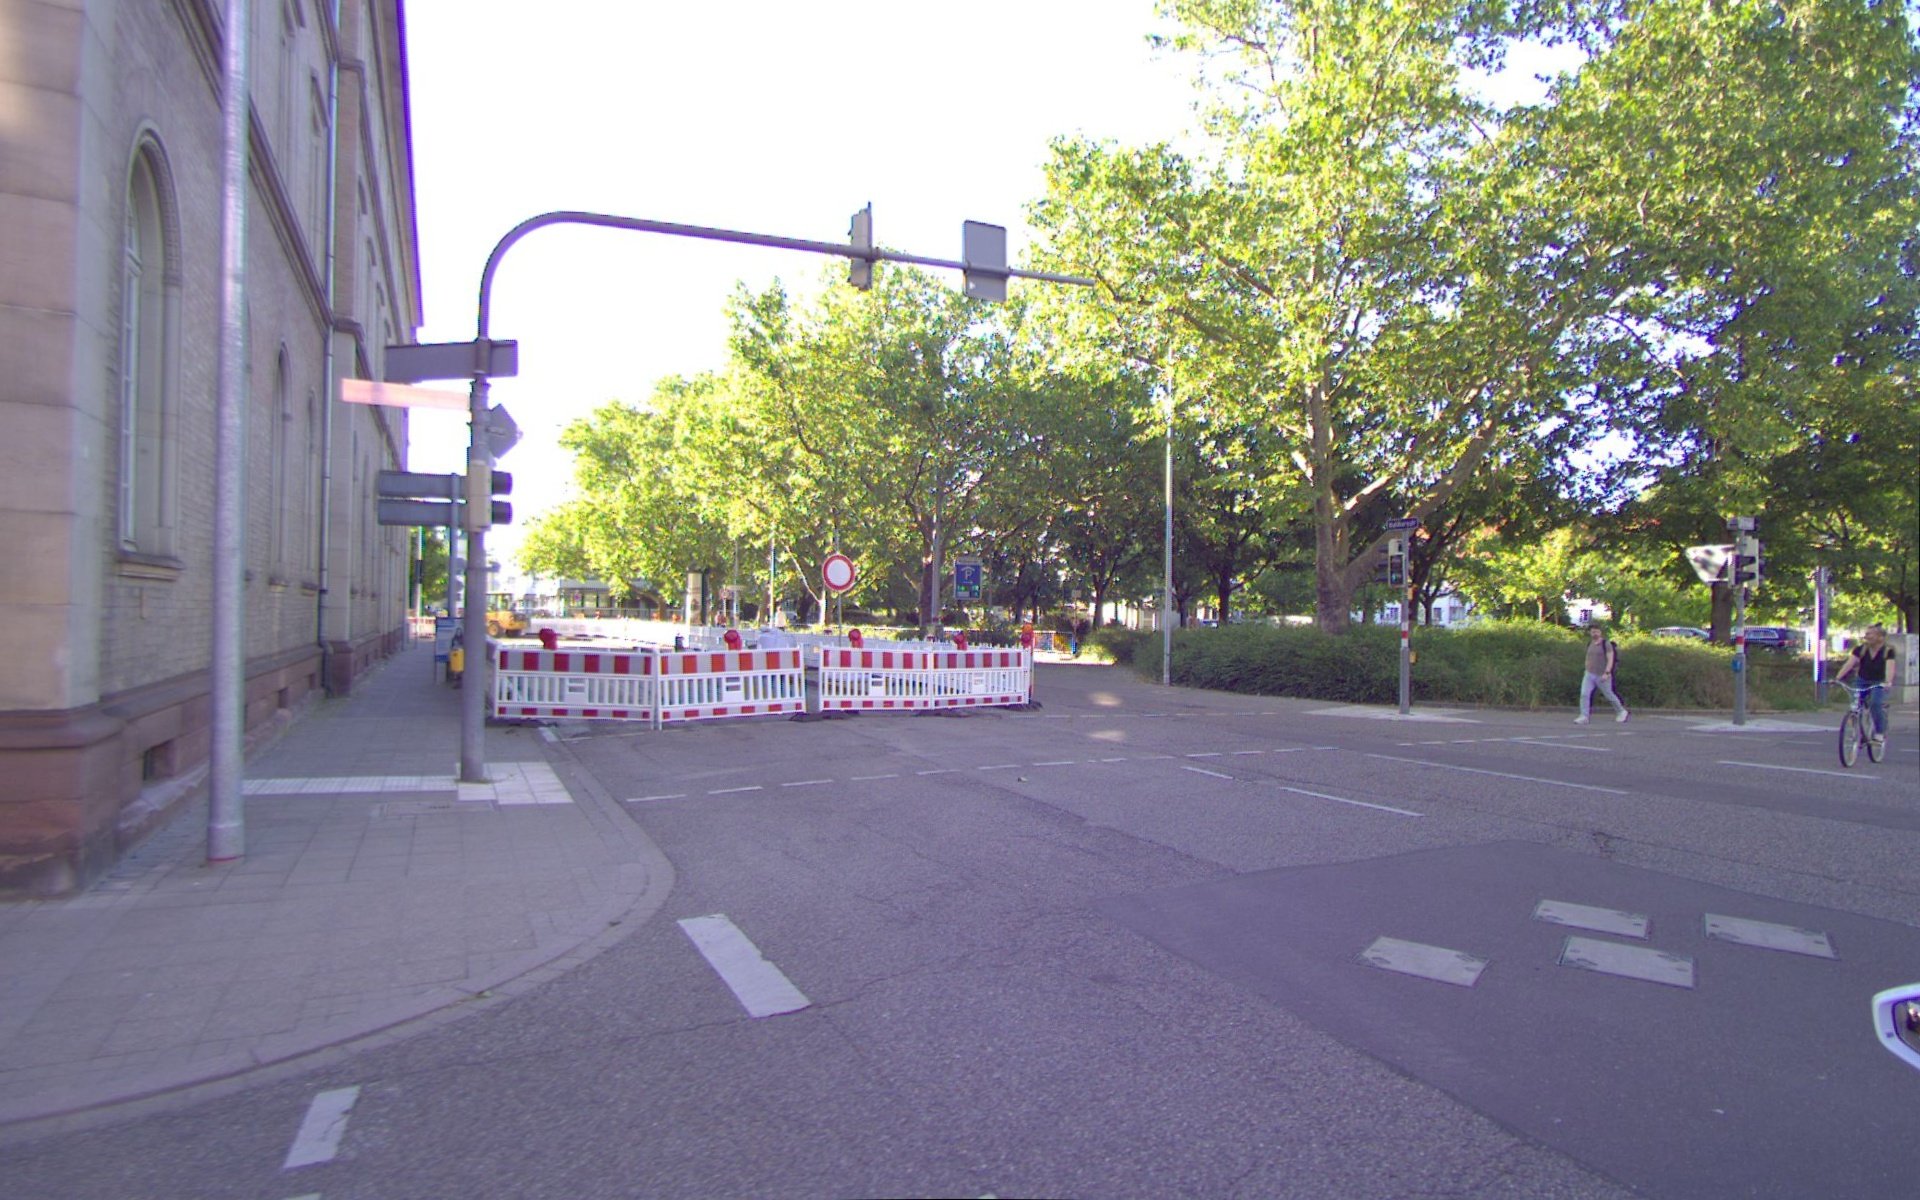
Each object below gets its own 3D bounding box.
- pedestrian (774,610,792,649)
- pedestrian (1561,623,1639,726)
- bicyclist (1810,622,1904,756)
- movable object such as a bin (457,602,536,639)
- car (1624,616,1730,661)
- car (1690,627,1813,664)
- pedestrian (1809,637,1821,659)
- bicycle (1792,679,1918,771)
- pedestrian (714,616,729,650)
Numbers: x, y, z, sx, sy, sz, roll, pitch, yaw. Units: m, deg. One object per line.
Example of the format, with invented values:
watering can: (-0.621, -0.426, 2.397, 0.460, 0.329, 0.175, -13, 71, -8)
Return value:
pedestrian: (-9.256, 1.543, 52.462, 0.641, 2.040, 0.819, 1, -1, -33)
pedestrian: (11.072, 1.278, 17.388, 0.939, 1.745, 0.703, 1, -2, -16)
bicyclist: (10.861, 1.047, 12.165, 0.893, 1.552, 0.613, 1, -1, -30)
movable object such as a bin: (-28.067, 1.251, 60.850, 3.919, 2.220, 1.943, 0, -1, 11)
car: (41.164, 2.200, 57.792, 2.049, 2.423, 4.535, 2, -2, -29)
car: (40.271, 2.285, 51.236, 2.049, 1.752, 4.535, 2, -2, -29)
pedestrian: (54.513, 3.060, 64.057, 0.552, 1.341, 0.574, 0, -1, 43)
bicycle: (10.842, 1.477, 12.155, 1.819, 0.982, 0.612, 2, -1, -30)
pedestrian: (-14.439, 1.972, 60.757, 0.602, 2.040, 0.819, 1, -1, -33)
